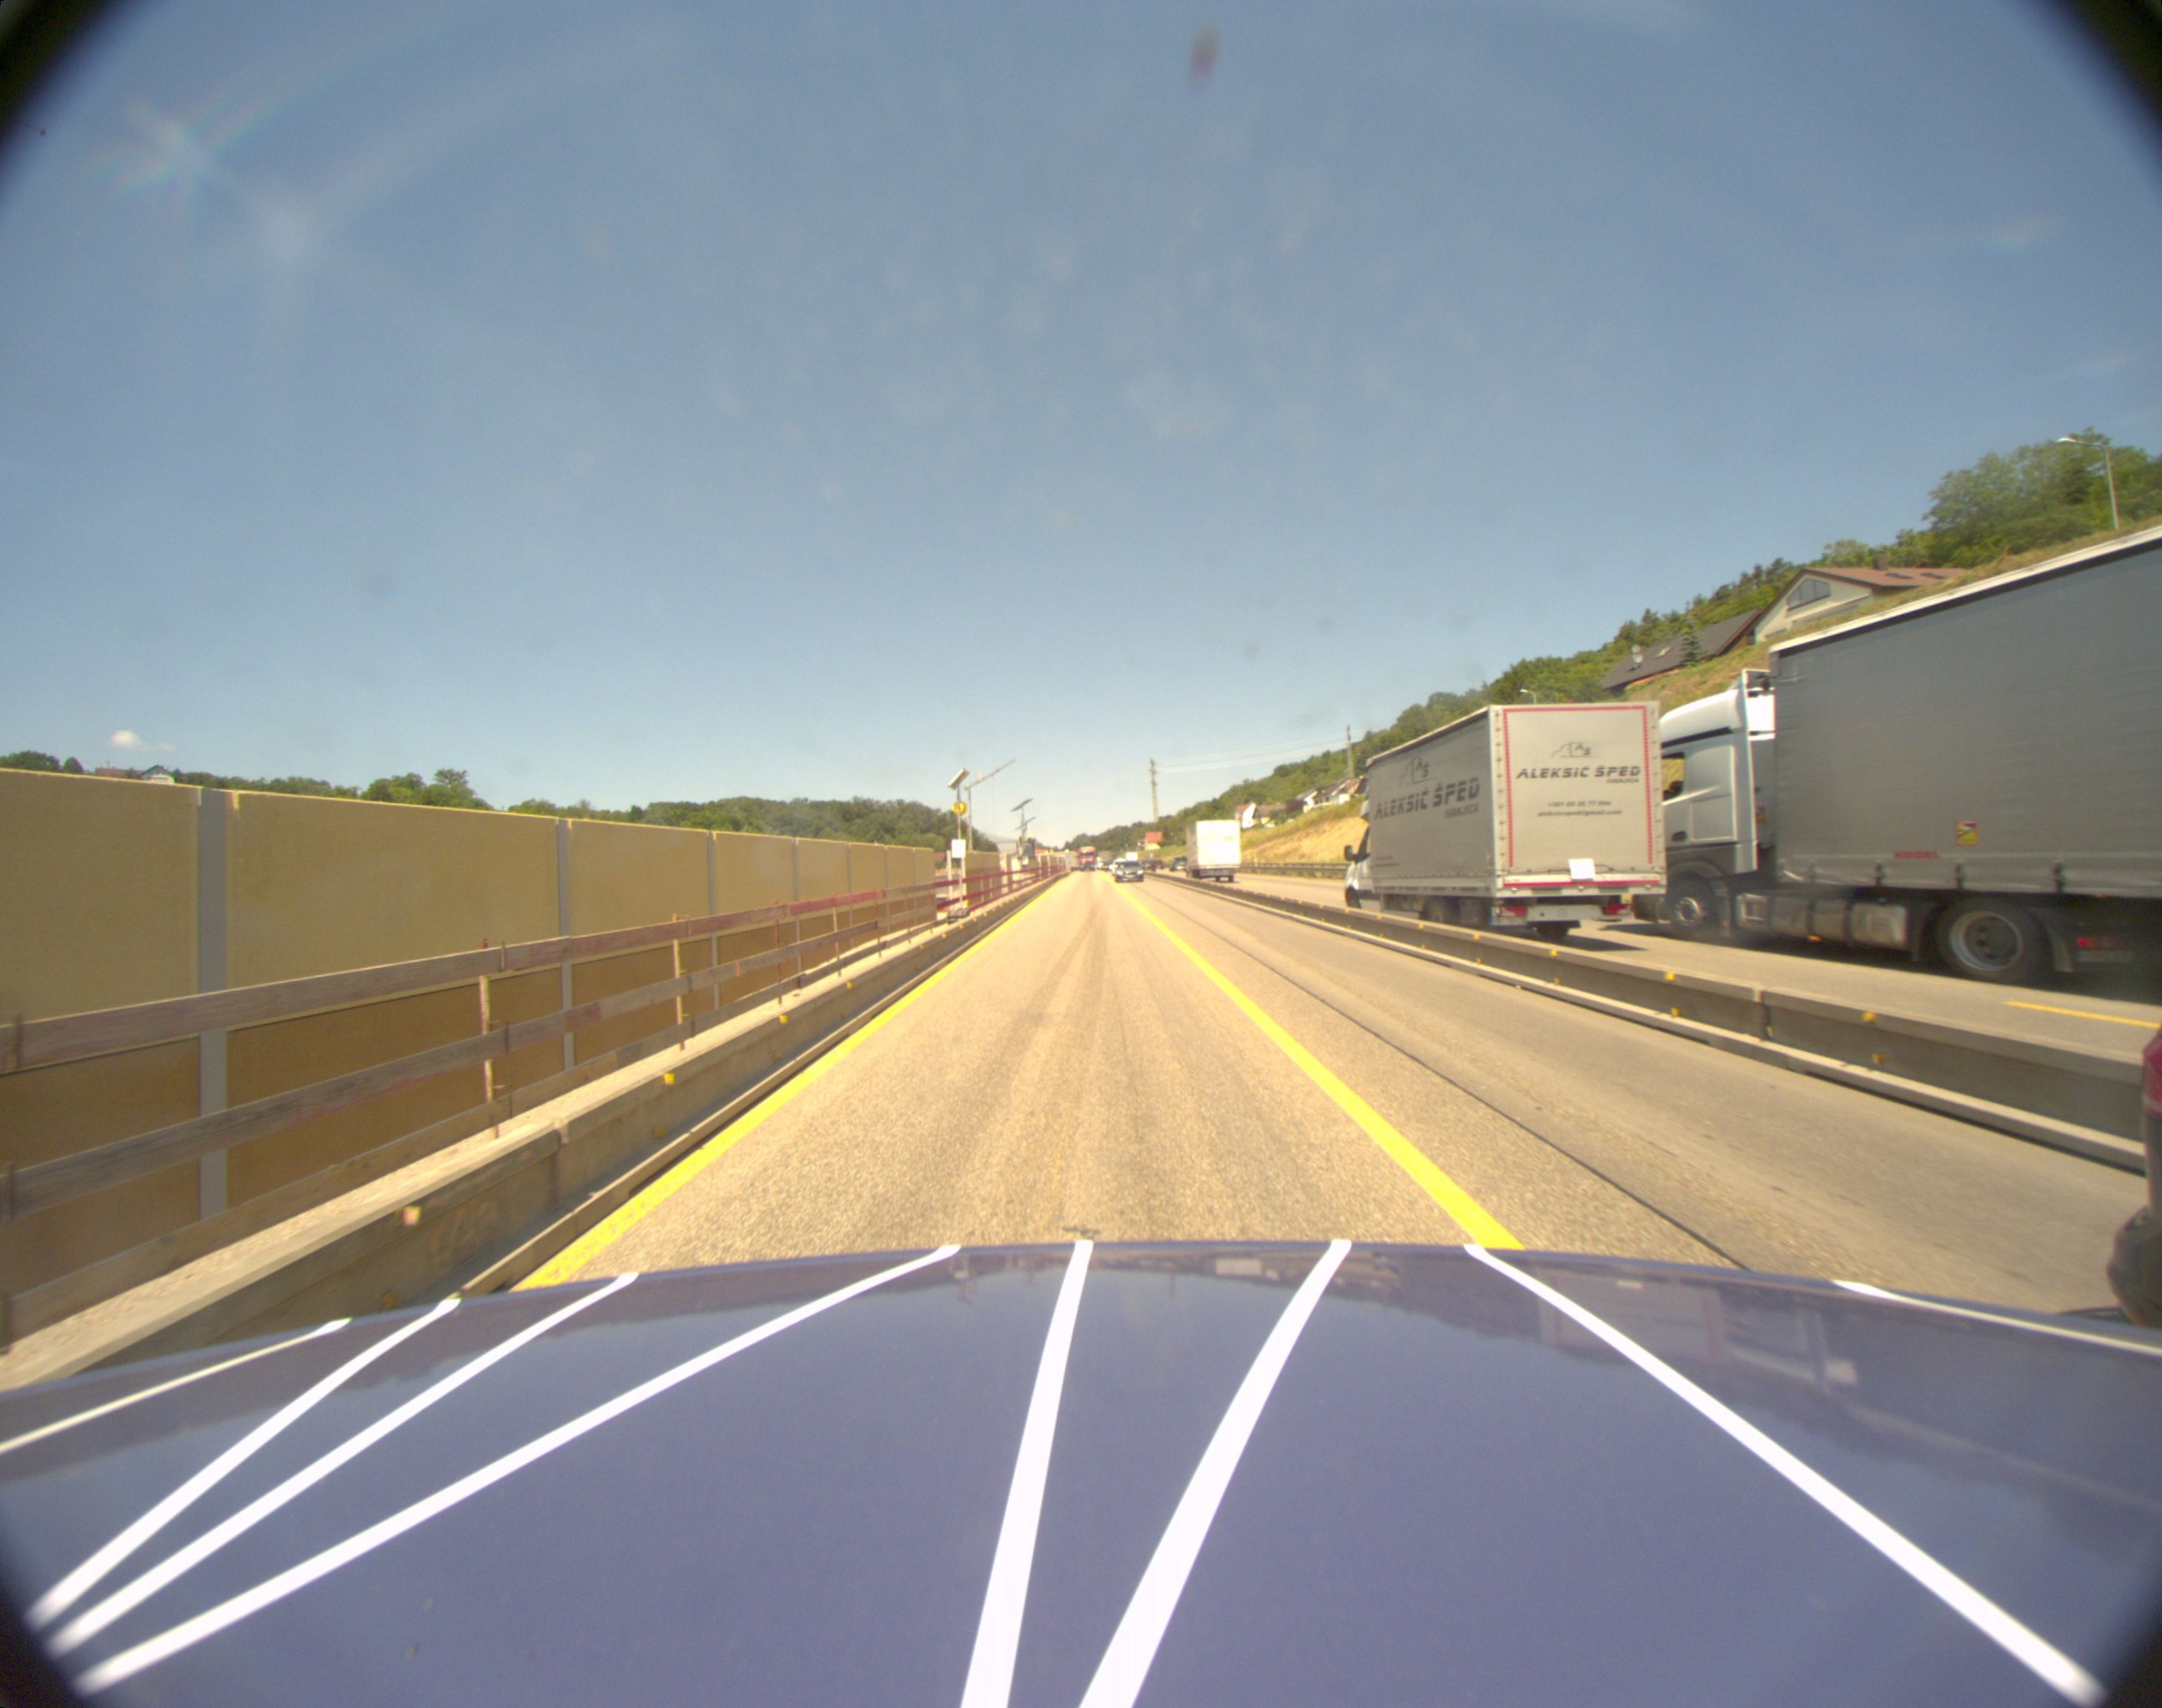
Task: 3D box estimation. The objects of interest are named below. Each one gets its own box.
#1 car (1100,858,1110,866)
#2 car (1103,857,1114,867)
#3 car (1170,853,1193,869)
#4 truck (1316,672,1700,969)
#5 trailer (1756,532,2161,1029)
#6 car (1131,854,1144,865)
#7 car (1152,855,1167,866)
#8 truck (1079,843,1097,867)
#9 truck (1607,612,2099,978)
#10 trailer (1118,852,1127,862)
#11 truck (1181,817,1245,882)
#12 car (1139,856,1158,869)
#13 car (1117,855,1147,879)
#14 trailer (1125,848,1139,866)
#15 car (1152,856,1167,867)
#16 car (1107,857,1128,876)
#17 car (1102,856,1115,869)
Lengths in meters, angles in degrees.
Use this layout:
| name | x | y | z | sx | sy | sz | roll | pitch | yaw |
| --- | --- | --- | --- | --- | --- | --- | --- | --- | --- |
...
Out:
| name | x | y | z | sx | sy | sz | roll | pitch | yaw |
| --- | --- | --- | --- | --- | --- | --- | --- | --- | --- |
| car | 4.623 | 1.531 | 146.114 | 1.780 | 1.485 | 4.337 | -2 | -1 | 1 |
| car | 4.464 | 1.378 | 123.348 | 1.780 | 1.485 | 4.337 | -2 | -1 | 1 |
| car | 11.125 | 0.784 | 84.257 | 1.858 | 1.662 | 4.668 | -2 | 0 | 1 |
| truck | 6.665 | -0.415 | 13.501 | 2.596 | 3.736 | 7.359 | -2 | 0 | 0 |
| trailer | 10.045 | -0.647 | 2.916 | 2.705 | 4.001 | 13.702 | -2 | 0 | 0 |
| car | 9.277 | 0.874 | 125.048 | 1.849 | 1.655 | 4.688 | -2 | 0 | 1 |
| car | 11.456 | 0.941 | 111.555 | 1.689 | 1.576 | 5.126 | -2 | 0 | 1 |
| truck | 1.238 | 0.229 | 127.871 | 2.605 | 3.703 | 10.538 | -2 | -1 | 1 |
| truck | 10.102 | -0.659 | 10.569 | 2.705 | 4.026 | 3.955 | -2 | 0 | 0 |
| trailer | 13.021 | 0.970 | 237.761 | 2.619 | 2.983 | 6.371 | -2 | -1 | 1 |
| truck | 7.478 | -0.211 | 43.959 | 2.544 | 3.354 | 7.038 | -2 | 0 | 1 |
| car | 7.916 | 0.996 | 89.920 | 1.801 | 1.419 | 4.950 | -2 | 0 | 1 |
| car | 3.342 | 0.862 | 50.455 | 1.780 | 1.447 | 4.337 | -2 | -1 | 1 |
| trailer | 12.817 | 0.758 | 191.610 | 2.793 | 4.157 | 13.980 | -2 | -1 | 1 |
| car | 11.498 | 1.061 | 111.104 | 1.780 | 1.485 | 4.337 | -2 | -1 | 1 |
| car | 3.396 | 1.212 | 71.630 | 1.780 | 1.682 | 4.337 | -2 | -1 | 1 |
| car | 3.780 | 1.242 | 105.010 | 1.780 | 1.727 | 4.337 | -2 | -1 | 1 |
